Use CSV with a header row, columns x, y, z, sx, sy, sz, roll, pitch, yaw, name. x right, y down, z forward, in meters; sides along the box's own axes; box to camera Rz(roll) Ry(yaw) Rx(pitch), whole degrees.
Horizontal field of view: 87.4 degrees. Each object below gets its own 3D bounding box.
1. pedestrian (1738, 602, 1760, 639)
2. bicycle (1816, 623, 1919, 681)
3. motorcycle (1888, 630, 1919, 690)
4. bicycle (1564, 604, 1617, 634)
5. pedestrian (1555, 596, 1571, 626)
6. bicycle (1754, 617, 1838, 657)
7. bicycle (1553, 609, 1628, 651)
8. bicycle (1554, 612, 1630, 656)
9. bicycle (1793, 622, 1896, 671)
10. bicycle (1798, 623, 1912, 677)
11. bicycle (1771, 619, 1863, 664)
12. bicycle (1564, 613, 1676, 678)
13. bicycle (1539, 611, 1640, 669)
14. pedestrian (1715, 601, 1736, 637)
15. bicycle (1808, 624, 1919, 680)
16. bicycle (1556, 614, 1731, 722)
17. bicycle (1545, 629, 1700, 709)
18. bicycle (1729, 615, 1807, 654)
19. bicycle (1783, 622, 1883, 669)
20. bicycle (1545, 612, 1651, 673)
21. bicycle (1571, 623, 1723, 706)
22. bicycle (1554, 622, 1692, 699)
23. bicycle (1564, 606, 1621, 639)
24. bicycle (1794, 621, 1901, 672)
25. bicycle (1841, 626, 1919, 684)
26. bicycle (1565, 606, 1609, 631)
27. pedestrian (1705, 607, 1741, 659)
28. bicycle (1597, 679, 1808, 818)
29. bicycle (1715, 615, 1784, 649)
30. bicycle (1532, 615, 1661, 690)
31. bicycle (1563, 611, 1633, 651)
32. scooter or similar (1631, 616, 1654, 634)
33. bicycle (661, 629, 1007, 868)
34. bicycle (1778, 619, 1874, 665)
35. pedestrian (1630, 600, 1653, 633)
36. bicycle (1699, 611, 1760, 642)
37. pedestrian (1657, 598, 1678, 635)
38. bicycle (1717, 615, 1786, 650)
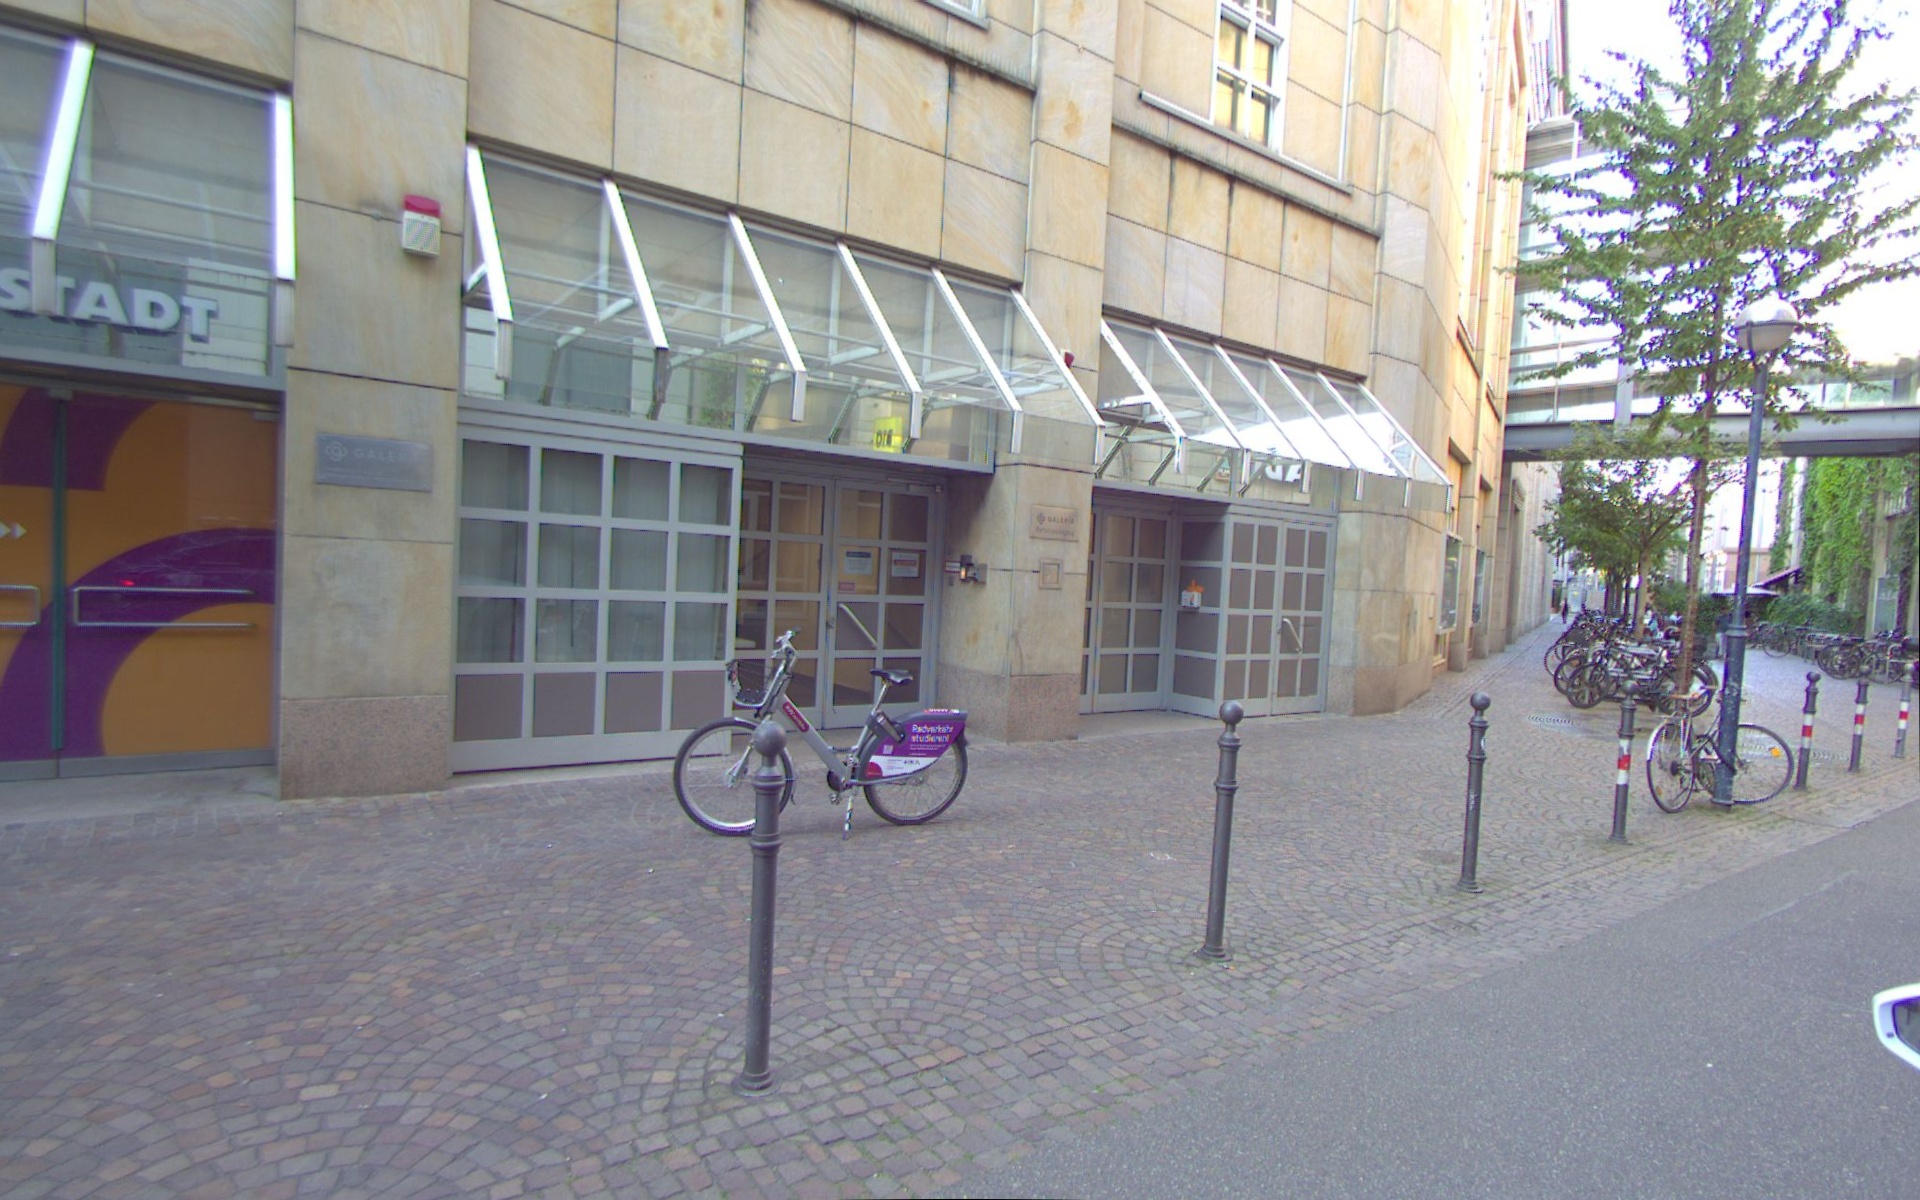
x,y,z,sx,sy,sz,roll,pitch,yaw,name
41.092,1.058,52.323,0.763,1.828,0.765,3,2,33,pedestrian
20.879,1.174,22.919,1.967,1.198,0.694,2,1,35,bicycle
19.803,1.237,20.108,1.724,1.171,0.592,2,1,37,motorcycle
28.261,0.841,45.018,1.889,1.198,0.693,4,2,37,bicycle
37.719,0.669,62.866,0.763,1.828,0.632,3,2,33,pedestrian
26.578,1.162,31.992,1.967,1.198,0.692,2,1,35,bicycle
19.897,0.931,31.725,1.889,1.198,0.693,4,2,37,bicycle
19.463,1.032,30.954,1.889,1.198,0.693,4,2,37,bicycle
23.543,1.219,26.782,1.967,1.198,0.692,2,1,35,bicycle
22.014,1.204,24.761,1.967,1.198,0.800,2,1,35,bicycle
25.321,1.208,29.732,1.967,1.198,0.692,2,1,35,bicycle
13.981,0.943,21.301,1.889,1.198,0.693,4,2,37,bicycle
14.651,0.907,23.398,1.889,1.198,0.693,4,2,37,bicycle
40.476,1.005,53.120,0.763,1.828,0.765,3,2,33,pedestrian
21.379,1.198,23.720,1.967,1.198,0.800,2,1,35,bicycle
9.399,0.891,13.897,1.887,1.278,0.806,4,2,34,bicycle
10.084,1.020,15.342,1.887,1.007,0.694,4,2,34,bicycle
27.334,1.158,34.027,1.967,1.198,0.692,2,1,35,bicycle
23.994,1.233,27.653,1.967,1.198,0.692,2,1,35,bicycle
14.154,0.920,22.318,1.889,1.198,0.693,4,2,37,bicycle
10.814,0.991,15.887,1.887,1.116,0.694,4,2,34,bicycle
11.328,1.005,17.189,1.889,1.116,0.693,4,2,37,bicycle
26.042,0.909,41.355,1.889,1.198,0.693,4,2,37,bicycle
22.912,1.187,25.983,1.967,1.198,0.800,2,1,35,bicycle
20.570,1.204,21.888,1.967,1.198,0.694,2,1,35,bicycle
33.660,0.979,53.912,1.889,1.198,0.693,4,2,37,bicycle
23.360,0.988,30.749,0.737,1.529,0.636,3,2,32,pedestrian
5.903,1.142,7.974,1.670,0.979,0.504,2,2,-22,bicycle
30.009,1.185,38.217,1.967,1.198,0.692,2,1,35,bicycle
11.599,0.928,18.345,1.889,1.198,0.693,4,2,37,bicycle
21.652,1.042,34.100,1.889,1.198,0.693,4,2,37,bicycle
34.891,1.253,51.353,0.879,0.854,0.909,3,2,32,scooter or similar
-0.697,0.760,5.533,1.750,1.127,0.692,2,2,-22,bicycle
24.729,1.184,28.731,1.967,1.198,0.692,2,1,35,bicycle
35.388,0.860,52.143,0.879,1.661,0.909,3,2,32,pedestrian
32.471,1.105,42.418,1.967,1.198,0.692,2,1,35,bicycle
36.127,0.825,51.322,0.754,1.828,0.775,3,2,32,pedestrian
29.527,1.196,37.512,1.967,1.198,0.692,2,1,35,bicycle
